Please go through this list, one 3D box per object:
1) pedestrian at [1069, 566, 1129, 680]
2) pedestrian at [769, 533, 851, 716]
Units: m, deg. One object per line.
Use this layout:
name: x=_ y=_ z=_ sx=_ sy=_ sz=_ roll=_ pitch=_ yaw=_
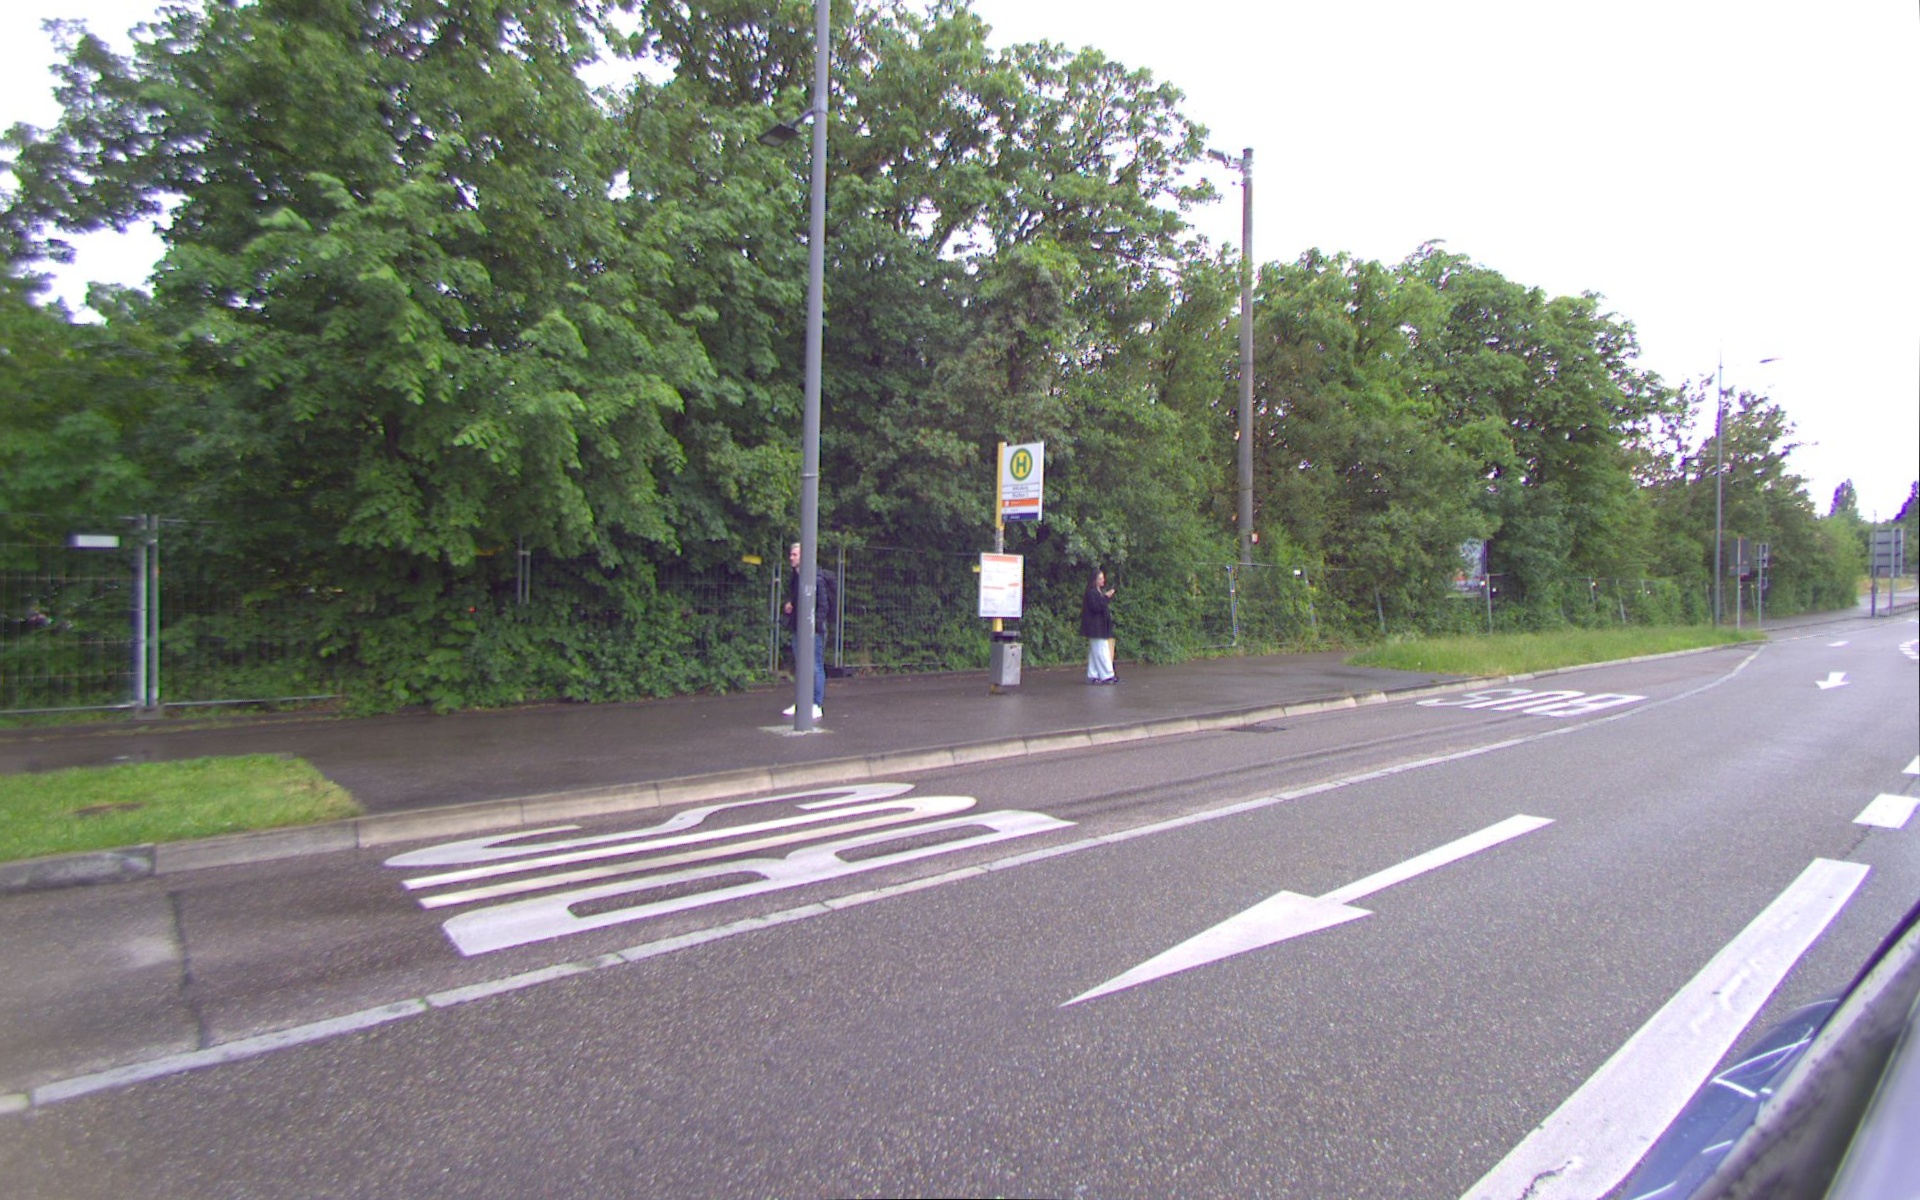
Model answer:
pedestrian: x=2.086 y=0.326 z=15.180 sx=0.650 sy=1.648 sz=0.588 roll=0 pitch=1 yaw=-40
pedestrian: x=-1.688 y=0.253 z=11.365 sx=0.587 sy=1.973 sz=0.742 roll=0 pitch=1 yaw=-40
